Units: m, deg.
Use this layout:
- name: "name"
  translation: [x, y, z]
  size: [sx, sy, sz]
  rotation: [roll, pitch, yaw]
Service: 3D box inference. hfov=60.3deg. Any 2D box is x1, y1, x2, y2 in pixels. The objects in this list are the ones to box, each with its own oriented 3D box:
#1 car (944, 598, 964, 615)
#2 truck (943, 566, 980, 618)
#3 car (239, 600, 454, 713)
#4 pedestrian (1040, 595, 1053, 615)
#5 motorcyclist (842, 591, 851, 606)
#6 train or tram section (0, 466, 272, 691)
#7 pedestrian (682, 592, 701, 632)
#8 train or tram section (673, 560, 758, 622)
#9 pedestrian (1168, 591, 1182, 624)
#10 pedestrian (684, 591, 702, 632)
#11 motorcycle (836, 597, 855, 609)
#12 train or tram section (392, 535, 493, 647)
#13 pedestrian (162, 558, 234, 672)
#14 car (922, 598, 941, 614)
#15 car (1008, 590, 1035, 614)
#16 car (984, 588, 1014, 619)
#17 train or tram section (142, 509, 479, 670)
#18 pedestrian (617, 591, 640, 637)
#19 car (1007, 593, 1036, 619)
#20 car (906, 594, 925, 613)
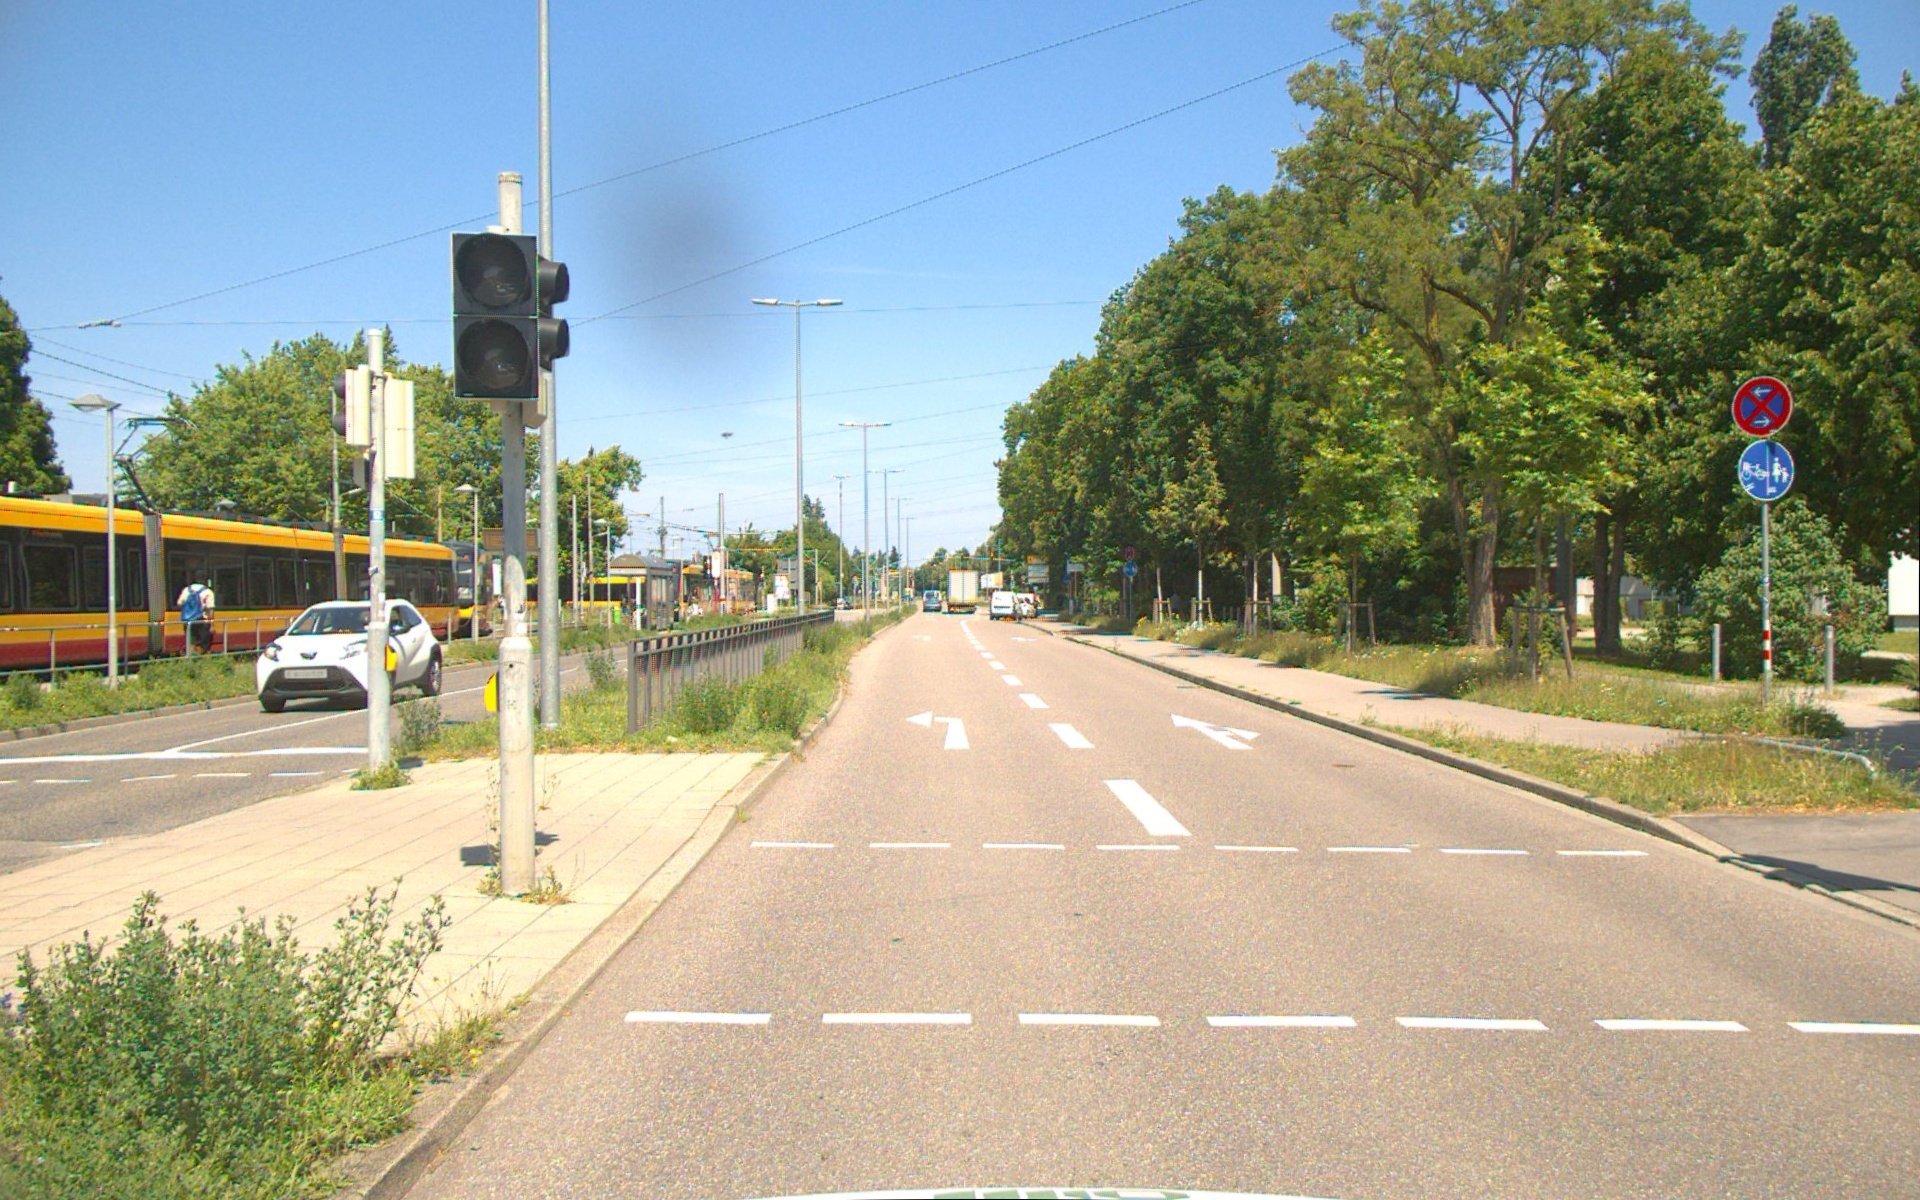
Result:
- name: "car"
  translation: [-0.587, 0.573, 153.597]
  size: [1.774, 1.490, 3.999]
  rotation: [0, 0, -1]
- name: "truck"
  translation: [0.074, -0.721, 146.063]
  size: [3.140, 4.435, 6.559]
  rotation: [0, 0, -1]
- name: "car"
  translation: [-8.935, 0.771, 24.415]
  size: [1.807, 1.521, 3.790]
  rotation: [0, 0, -1]
- name: "pedestrian"
  translation: [8.568, 0.484, 163.424]
  size: [1.161, 2.049, 1.213]
  rotation: [0, 0, -1]
- name: "motorcyclist"
  translation: [-13.584, -0.180, 197.607]
  size: [0.908, 1.867, 0.847]
  rotation: [0, 0, -12]
- name: "train or tram section"
  translation: [-18.668, -0.386, 31.990]
  size: [3.150, 4.000, 18.498]
  rotation: [0, 0, 0]
- name: "pedestrian"
  translation: [-13.740, 0.595, 84.726]
  size: [0.798, 2.049, 0.938]
  rotation: [0, 0, -1]
- name: "train or tram section"
  translation: [-17.073, -0.623, 118.152]
  size: [2.898, 3.815, 30.017]
  rotation: [0, 0, -3]
- name: "pedestrian"
  translation: [9.452, 0.328, 72.616]
  size: [0.591, 1.463, 0.556]
  rotation: [0, 0, 6]
- name: "pedestrian"
  translation: [-13.463, 0.594, 83.437]
  size: [0.798, 2.049, 0.938]
  rotation: [0, 0, -1]
- name: "motorcycle"
  translation: [-13.653, 0.349, 197.578]
  size: [2.144, 1.431, 0.845]
  rotation: [0, 0, -12]
- name: "train or tram section"
  translation: [-21.044, -0.353, 68.149]
  size: [3.162, 4.000, 18.425]
  rotation: [0, 0, -15]
- name: "pedestrian"
  translation: [-12.642, 0.234, 27.464]
  size: [0.703, 1.808, 0.842]
  rotation: [4, 2, -1]
- name: "car"
  translation: [-2.682, 0.533, 157.833]
  size: [1.774, 1.490, 3.999]
  rotation: [0, 0, -1]
- name: "car"
  translation: [4.409, 0.126, 118.851]
  size: [1.743, 1.698, 3.999]
  rotation: [0, 0, -1]
- name: "car"
  translation: [2.456, 0.227, 105.547]
  size: [1.743, 1.937, 3.999]
  rotation: [0, 0, -1]
- name: "train or tram section"
  translation: [-18.867, -0.301, 50.452]
  size: [3.150, 4.000, 18.498]
  rotation: [0, 0, 0]
- name: "pedestrian"
  translation: [-13.847, 0.596, 69.079]
  size: [0.769, 1.901, 0.817]
  rotation: [0, 0, -1]
- name: "car"
  translation: [4.185, 0.405, 112.480]
  size: [1.743, 1.698, 3.999]
  rotation: [0, 0, -1]
- name: "car"
  translation: [-4.694, 0.345, 175.086]
  size: [1.953, 2.049, 3.999]
  rotation: [0, 0, -1]
